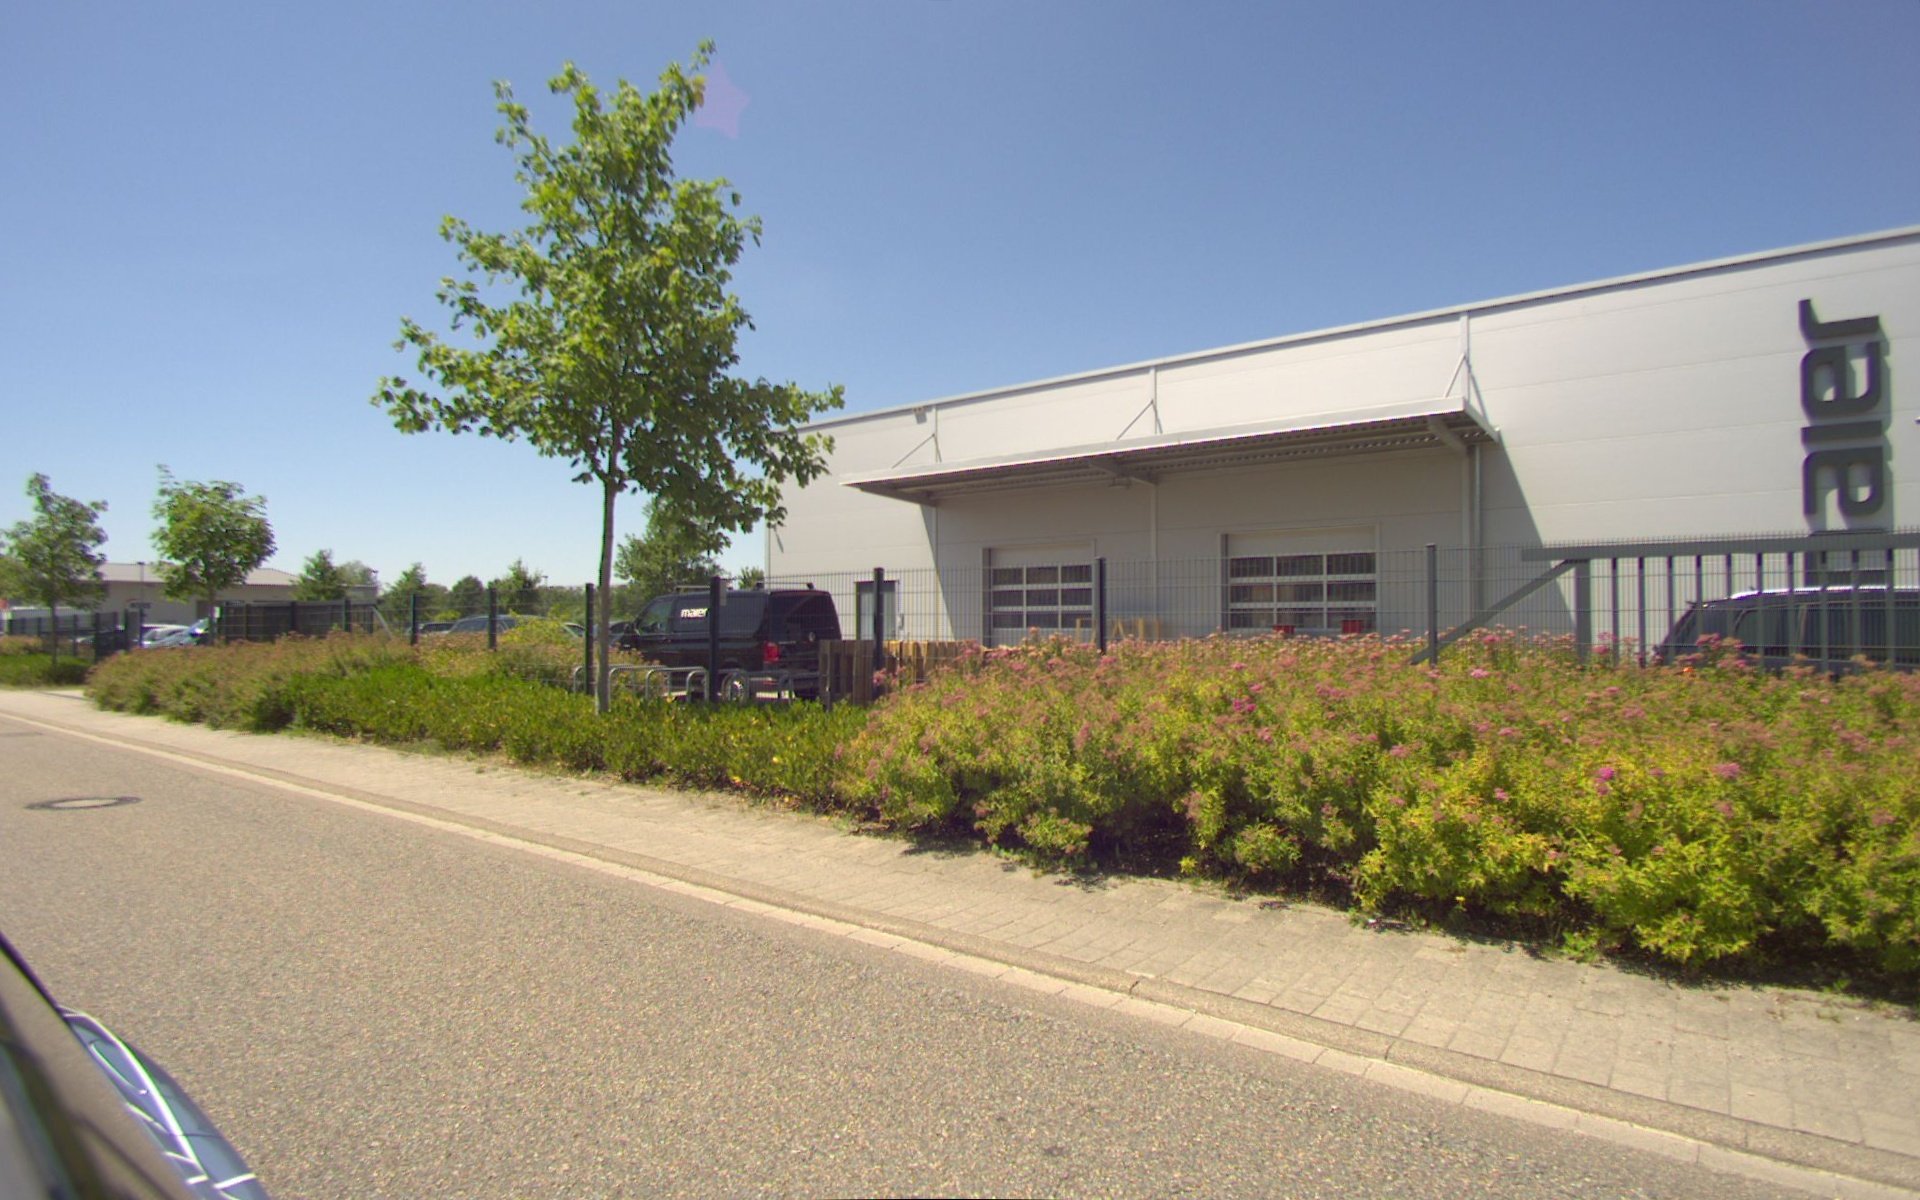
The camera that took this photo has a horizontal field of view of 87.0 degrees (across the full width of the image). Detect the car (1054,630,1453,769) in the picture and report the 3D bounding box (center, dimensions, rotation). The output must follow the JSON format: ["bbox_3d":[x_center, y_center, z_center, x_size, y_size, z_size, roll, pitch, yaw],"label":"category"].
[{"bbox_3d":[3.230,1.009,11.550,3.996,1.290,1.778,-2,-2,40],"label":"car"}]

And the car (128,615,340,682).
[{"bbox_3d":[-22.447,1.442,31.494,1.961,1.865,5.012,-2,-2,37],"label":"car"}]

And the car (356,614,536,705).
[{"bbox_3d":[-10.895,1.188,21.353,4.088,1.736,1.973,-2,-2,40],"label":"car"}]

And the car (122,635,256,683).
[{"bbox_3d":[-26.791,1.998,35.230,1.902,1.510,3.339,-2,-2,37],"label":"car"}]

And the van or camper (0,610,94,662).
[{"bbox_3d":[-50.608,1.904,53.668,2.572,2.704,6.710,-2,-3,38],"label":"van or camper"}]

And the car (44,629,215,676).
[{"bbox_3d":[-31.167,1.929,38.109,1.998,1.641,4.686,-2,-2,38],"label":"car"}]

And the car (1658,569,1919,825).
[{"bbox_3d":[7.582,0.656,7.235,4.088,1.736,1.973,-2,-2,40],"label":"car"}]

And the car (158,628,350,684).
[{"bbox_3d":[-20.651,1.602,29.755,1.961,1.457,4.264,-2,-2,37],"label":"car"}]

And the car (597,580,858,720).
[{"bbox_3d":[-4.141,0.799,17.623,4.690,2.114,1.981,-2,0,40],"label":"car"}]

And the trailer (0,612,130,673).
[{"bbox_3d":[-38.229,1.765,43.218,1.723,2.378,3.953,-2,0,35],"label":"trailer"}]

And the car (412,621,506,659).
[{"bbox_3d":[-21.934,1.734,44.387,1.475,1.596,3.439,-2,-2,37],"label":"car"}]

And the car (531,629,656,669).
[{"bbox_3d":[-13.636,1.790,37.832,1.878,1.361,4.068,-2,-2,37],"label":"car"}]
